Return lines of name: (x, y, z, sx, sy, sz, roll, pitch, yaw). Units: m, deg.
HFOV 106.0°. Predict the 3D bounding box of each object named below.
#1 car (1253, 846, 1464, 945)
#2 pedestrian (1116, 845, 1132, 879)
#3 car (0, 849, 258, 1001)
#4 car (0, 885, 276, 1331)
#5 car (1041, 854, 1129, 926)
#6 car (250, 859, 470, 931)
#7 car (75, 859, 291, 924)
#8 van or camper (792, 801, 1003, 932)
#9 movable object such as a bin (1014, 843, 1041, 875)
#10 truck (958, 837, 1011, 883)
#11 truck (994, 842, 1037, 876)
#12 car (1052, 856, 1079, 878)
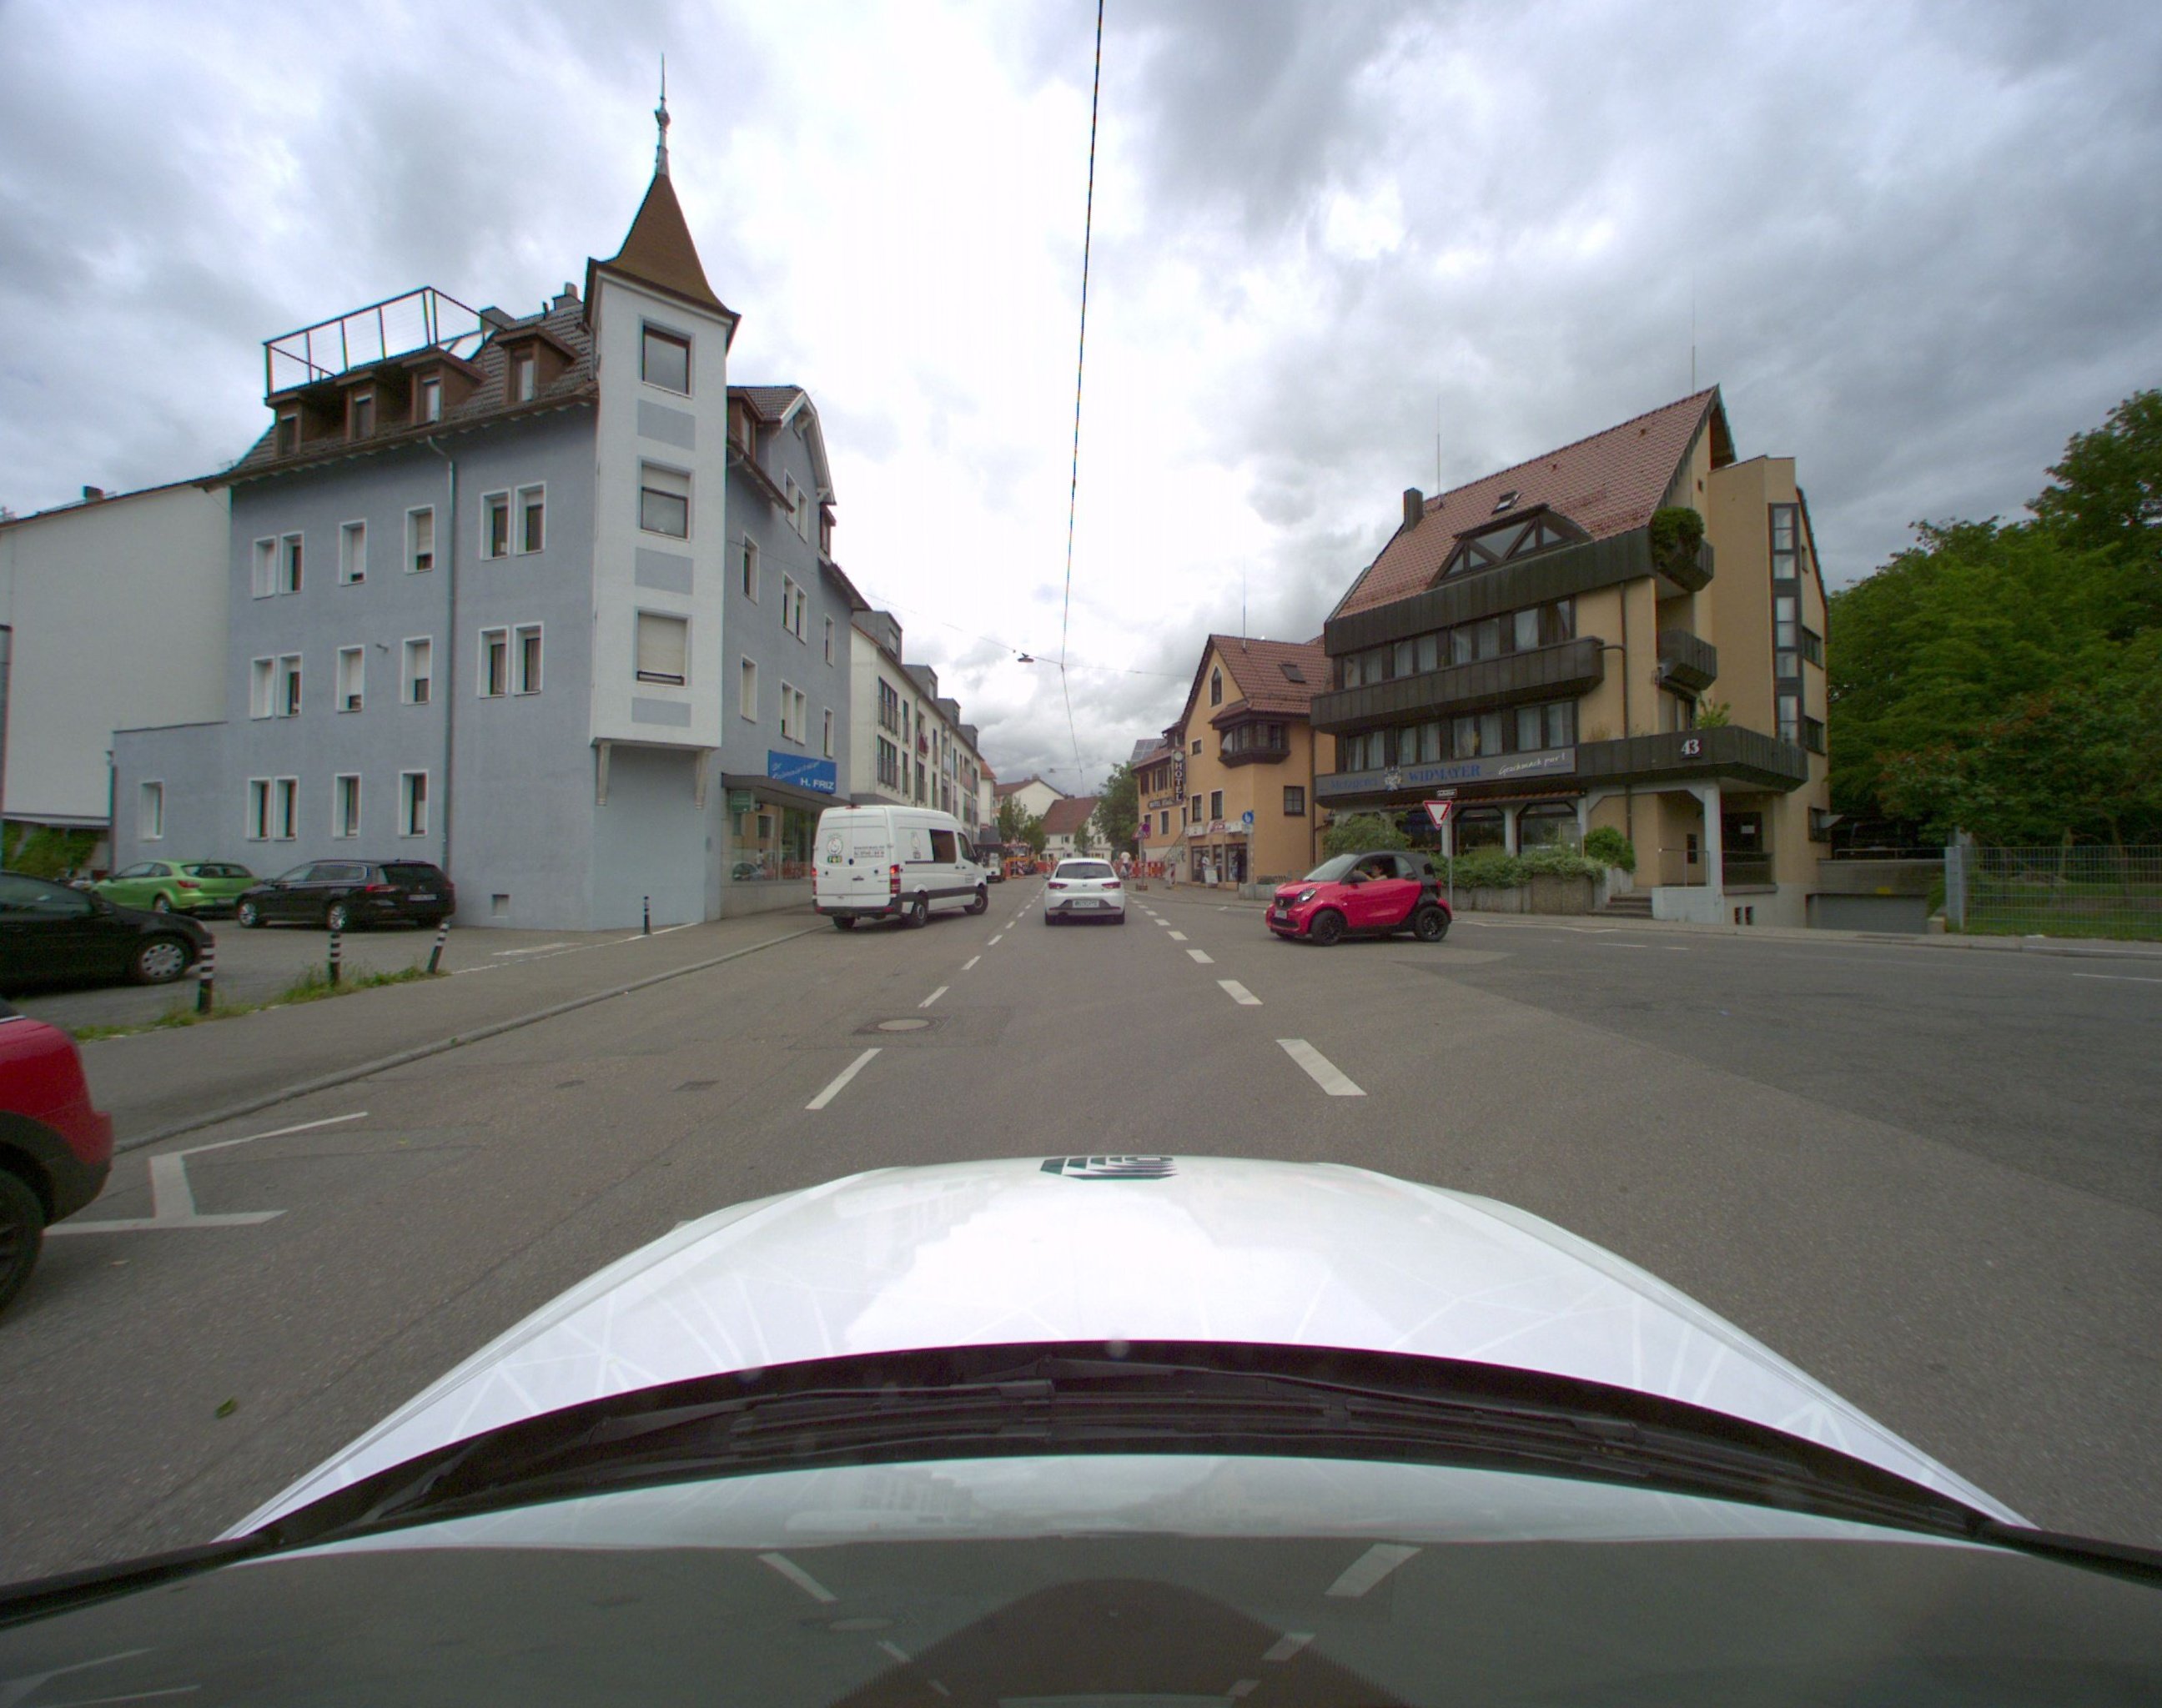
car: (4.694, 0.646, 14.000, 2.931, 1.520, 1.813, -1, 0, -11)
pedestrian: (2.554, 0.462, 48.308, 0.796, 1.950, 0.835, -1, 0, -3)
car: (-12.336, 0.746, 8.940, 1.986, 1.552, 4.417, 1, 0, 2)
car: (-4.667, 0.941, 1.515, 1.852, 1.474, 4.354, -3, 0, 2)
car: (0.068, 0.744, 18.867, 1.806, 1.481, 3.869, -1, 0, -1)
car: (-15.127, 0.839, 17.112, 3.953, 1.352, 1.731, -1, 0, 20)
car: (-21.432, 0.869, 19.452, 4.363, 1.393, 2.011, -1, 0, 21)
van or camper: (-4.021, 0.252, 19.401, 2.302, 2.607, 6.231, -1, 0, 14)
movable object such as a bin: (-4.824, 0.468, 73.978, 1.831, 2.764, 4.510, -1, -2, 4)
truck: (-5.619, 0.333, 48.180, 2.406, 2.466, 6.305, -1, 0, -1)
truck: (-5.364, 0.400, 67.925, 2.720, 2.725, 6.853, -1, 0, 3)
car: (-1.123, 0.884, 58.224, 1.806, 1.481, 3.868, -1, 0, -1)
